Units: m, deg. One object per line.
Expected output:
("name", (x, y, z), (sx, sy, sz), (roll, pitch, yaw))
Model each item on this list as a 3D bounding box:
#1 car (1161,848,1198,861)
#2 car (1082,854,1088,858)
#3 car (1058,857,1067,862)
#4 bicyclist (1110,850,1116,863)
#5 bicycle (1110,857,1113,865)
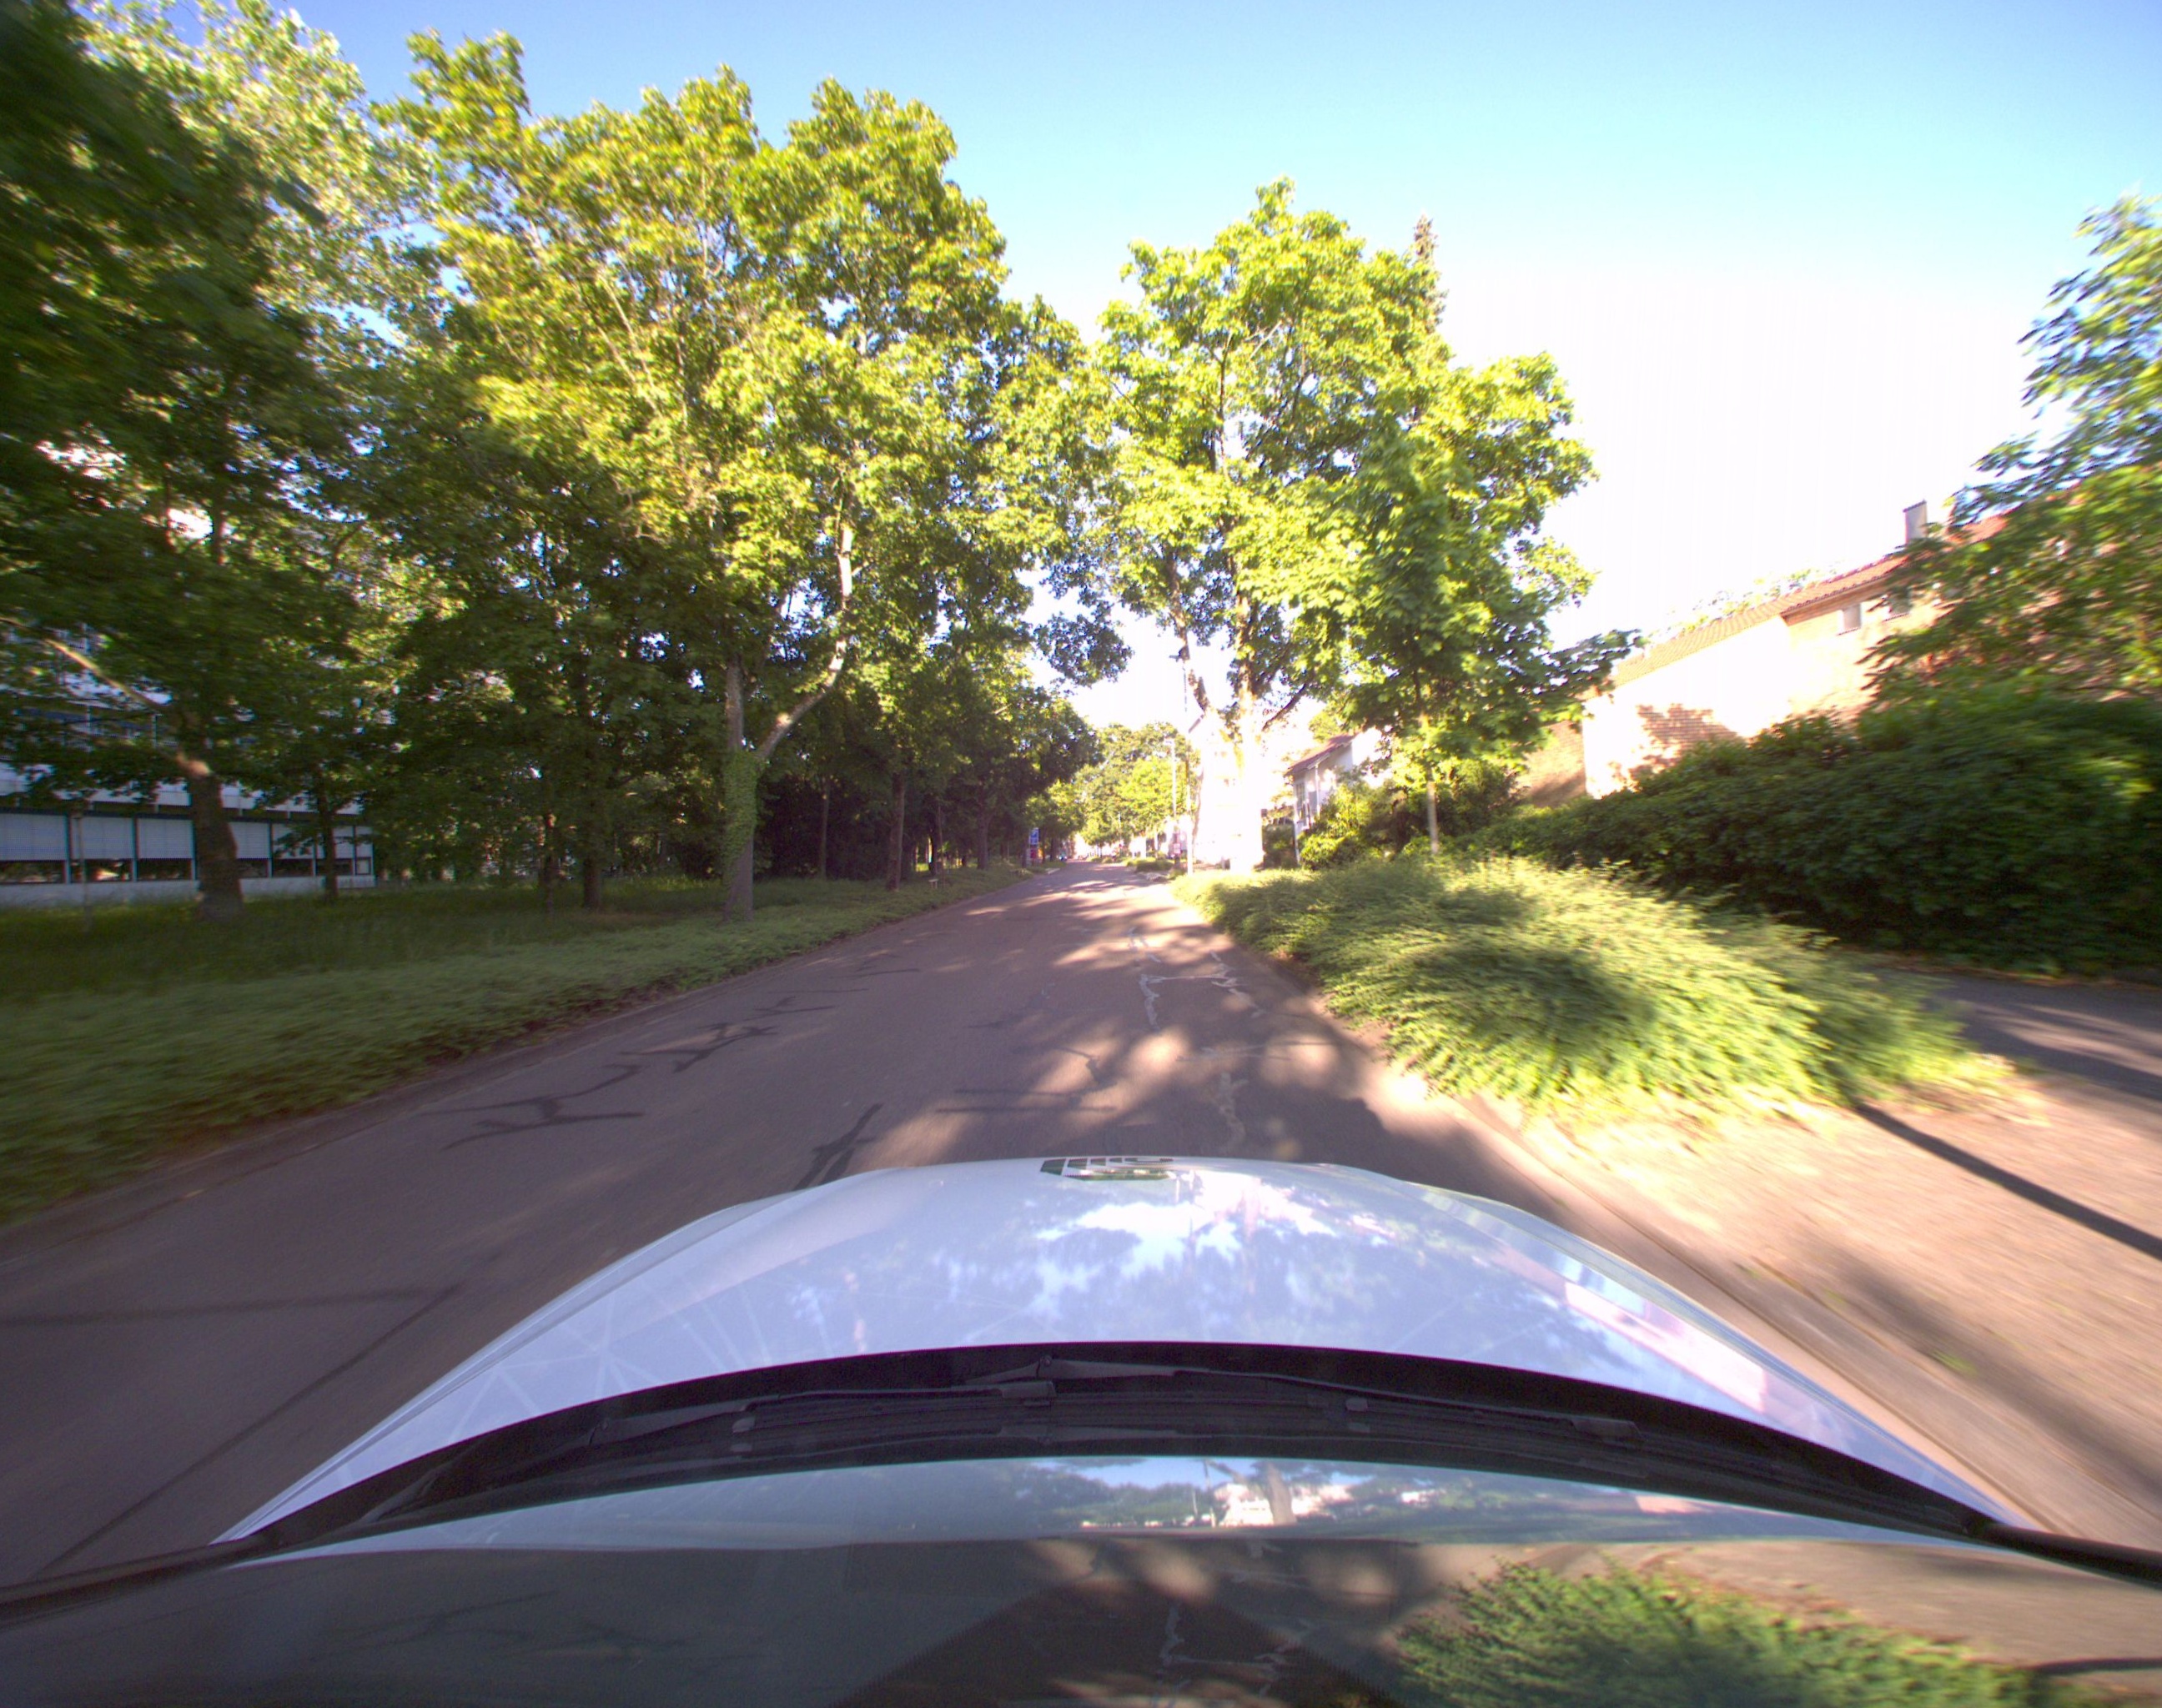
("car", (12.435, 0.086, 102.641), (4.320, 1.353, 2.152), (2, 4, 13))
("car", (1.209, 0.585, 241.529), (1.833, 0.991, 3.819), (-1, 0, 0))
("car", (-4.669, 1.407, 203.583), (1.992, 1.354, 3.531), (-1, 0, -8))
("bicyclist", (4.303, 0.349, 109.448), (0.864, 1.641, 1.115), (-1, 1, 1))
("bicycle", (4.086, 0.953, 109.436), (0.437, 0.978, 1.662), (-2, 1, 2))
